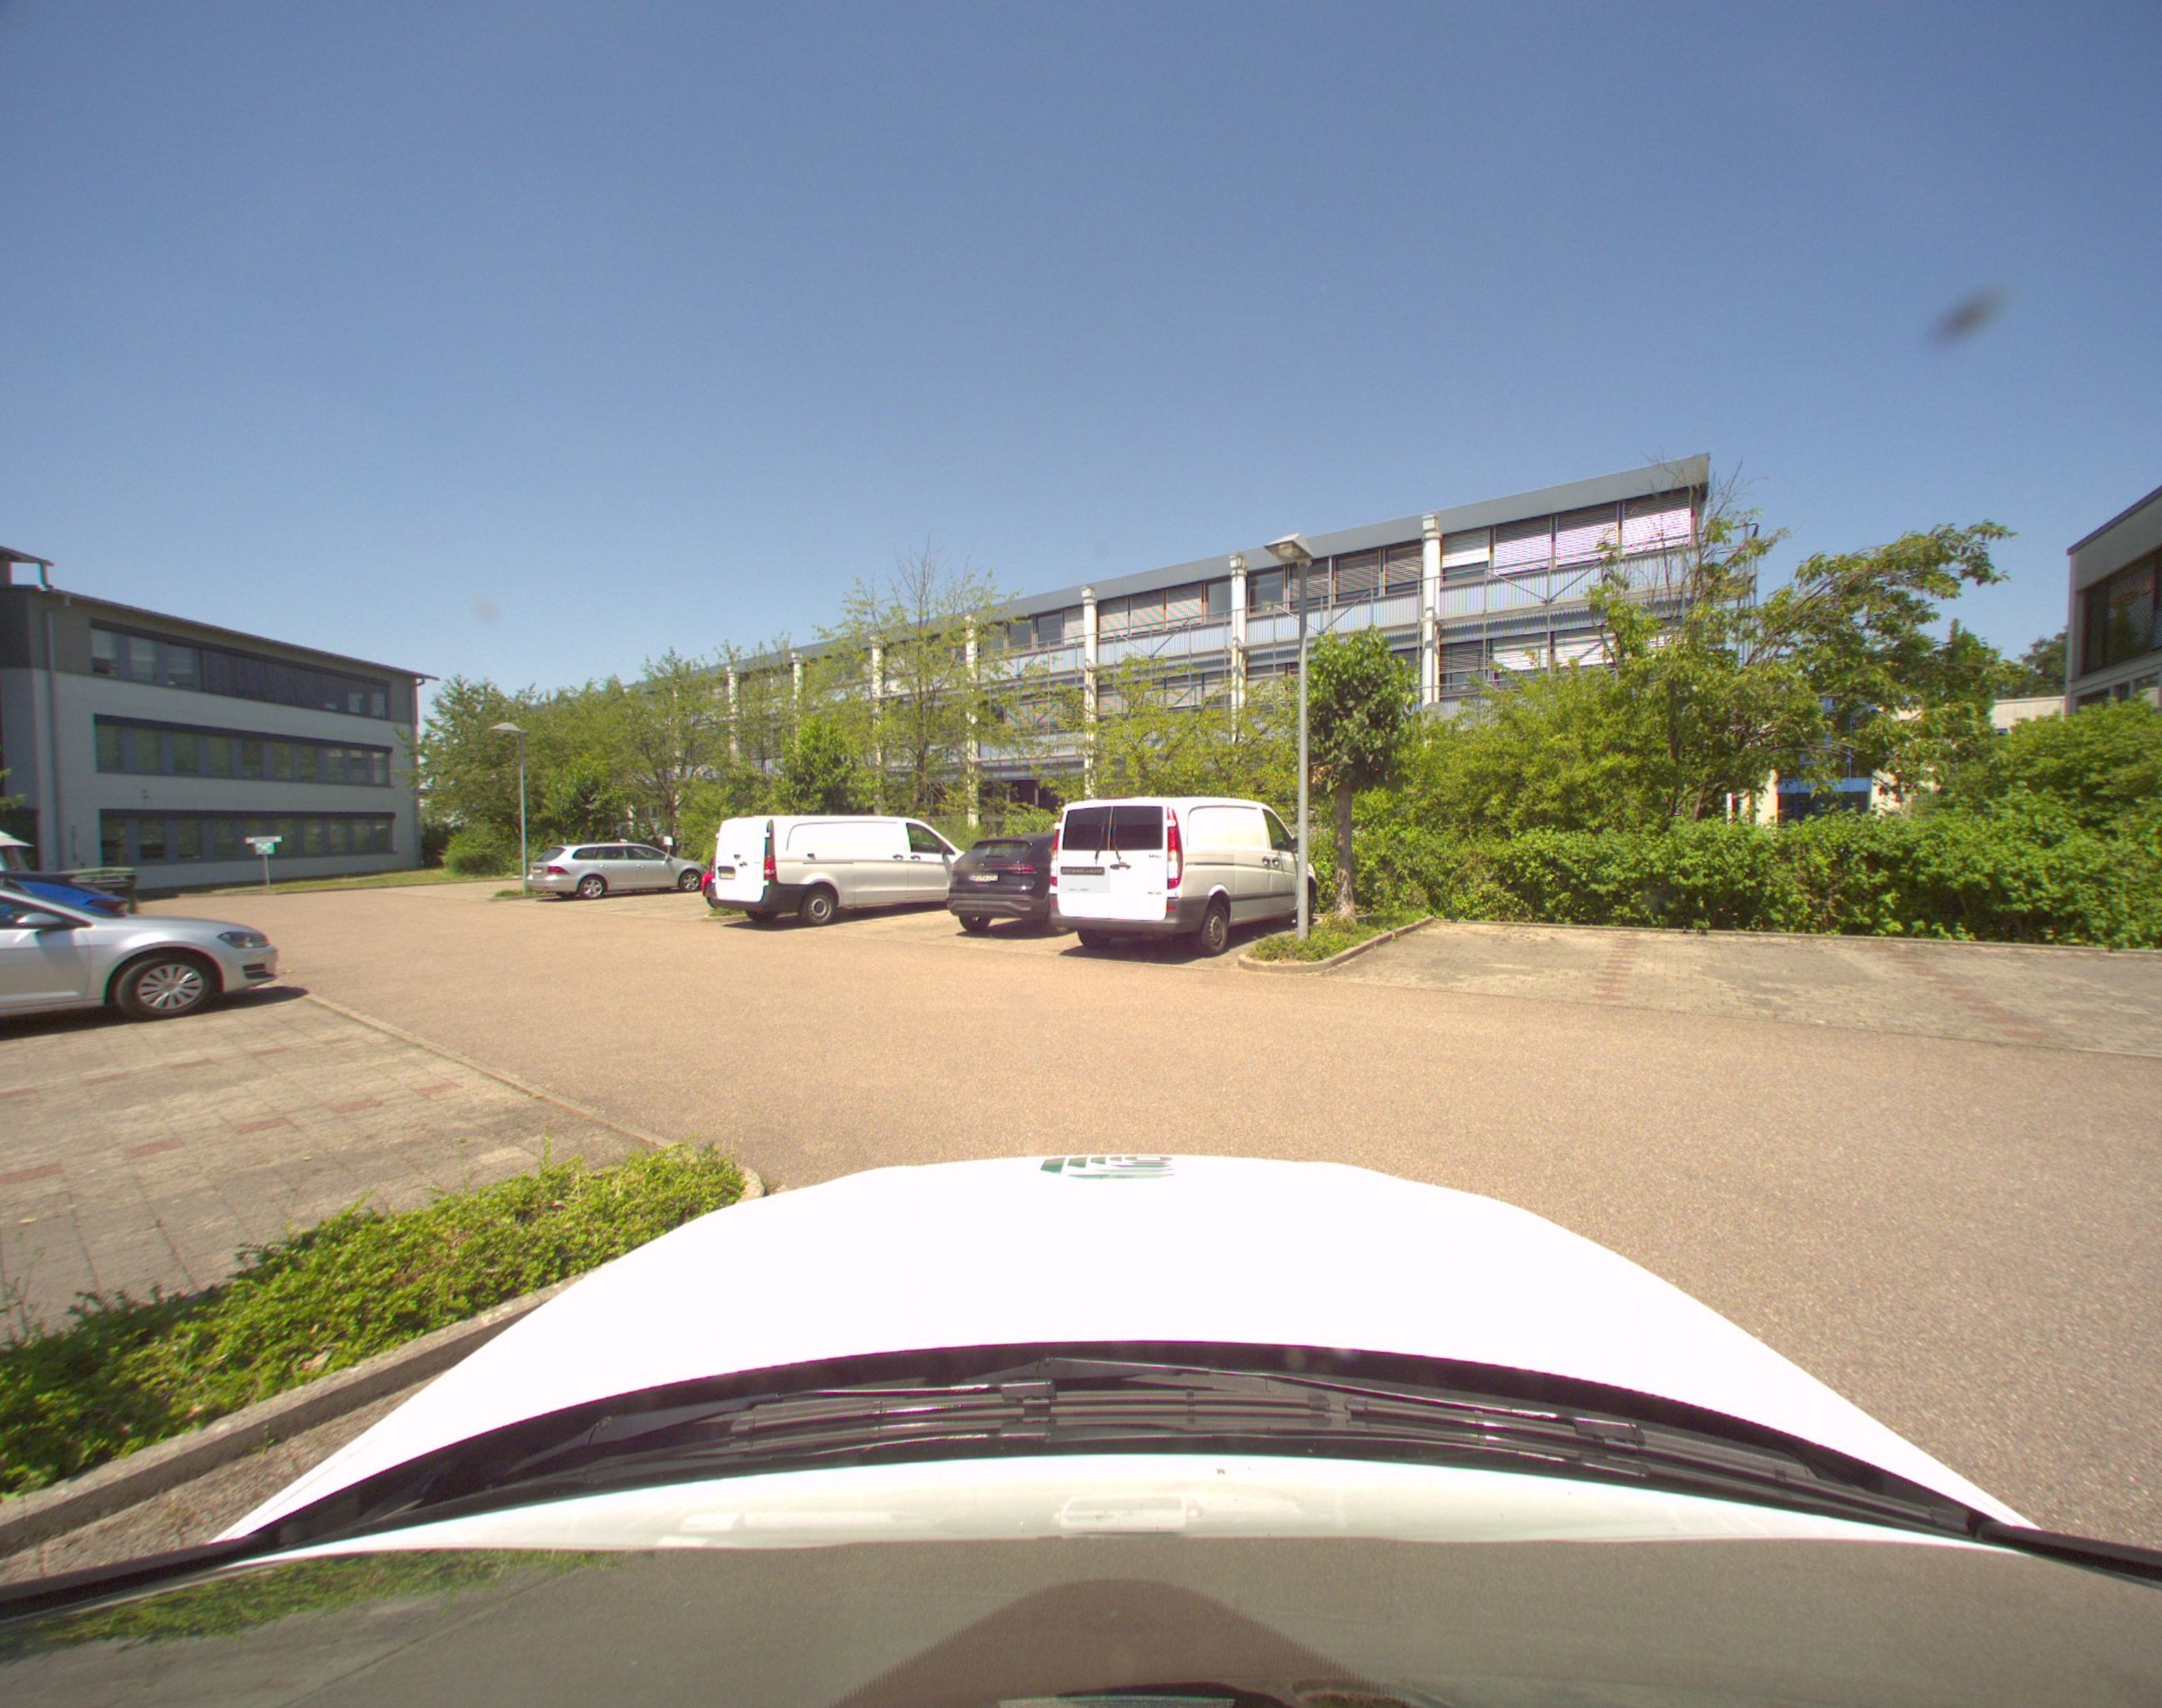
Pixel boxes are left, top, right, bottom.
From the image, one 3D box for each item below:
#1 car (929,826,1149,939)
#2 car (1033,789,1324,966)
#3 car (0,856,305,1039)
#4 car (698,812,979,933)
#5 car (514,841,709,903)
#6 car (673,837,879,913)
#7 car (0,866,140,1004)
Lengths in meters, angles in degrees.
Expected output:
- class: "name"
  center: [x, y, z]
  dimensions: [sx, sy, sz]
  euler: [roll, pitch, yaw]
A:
- class: "car"
  center: [-0.492, 0.344, 13.229]
  dimensions: [1.738, 1.476, 4.025]
  euler: [-1, 2, 27]
- class: "car"
  center: [1.613, 0.152, 11.247]
  dimensions: [1.894, 1.904, 4.840]
  euler: [-1, 2, 35]
- class: "car"
  center: [-10.078, 0.842, 7.084]
  dimensions: [1.839, 1.472, 4.513]
  euler: [0, 2, 35]
- class: "car"
  center: [-4.315, 0.187, 15.317]
  dimensions: [1.863, 1.890, 4.835]
  euler: [0, 3, 37]
- class: "car"
  center: [-12.753, 0.424, 22.328]
  dimensions: [1.849, 1.406, 4.197]
  euler: [0, 2, 39]
- class: "car"
  center: [-6.825, 0.394, 18.573]
  dimensions: [1.765, 1.441, 4.026]
  euler: [0, 2, 38]
- class: "car"
  center: [-13.456, 1.002, 8.894]
  dimensions: [1.974, 1.461, 4.026]
  euler: [0, 3, 39]
